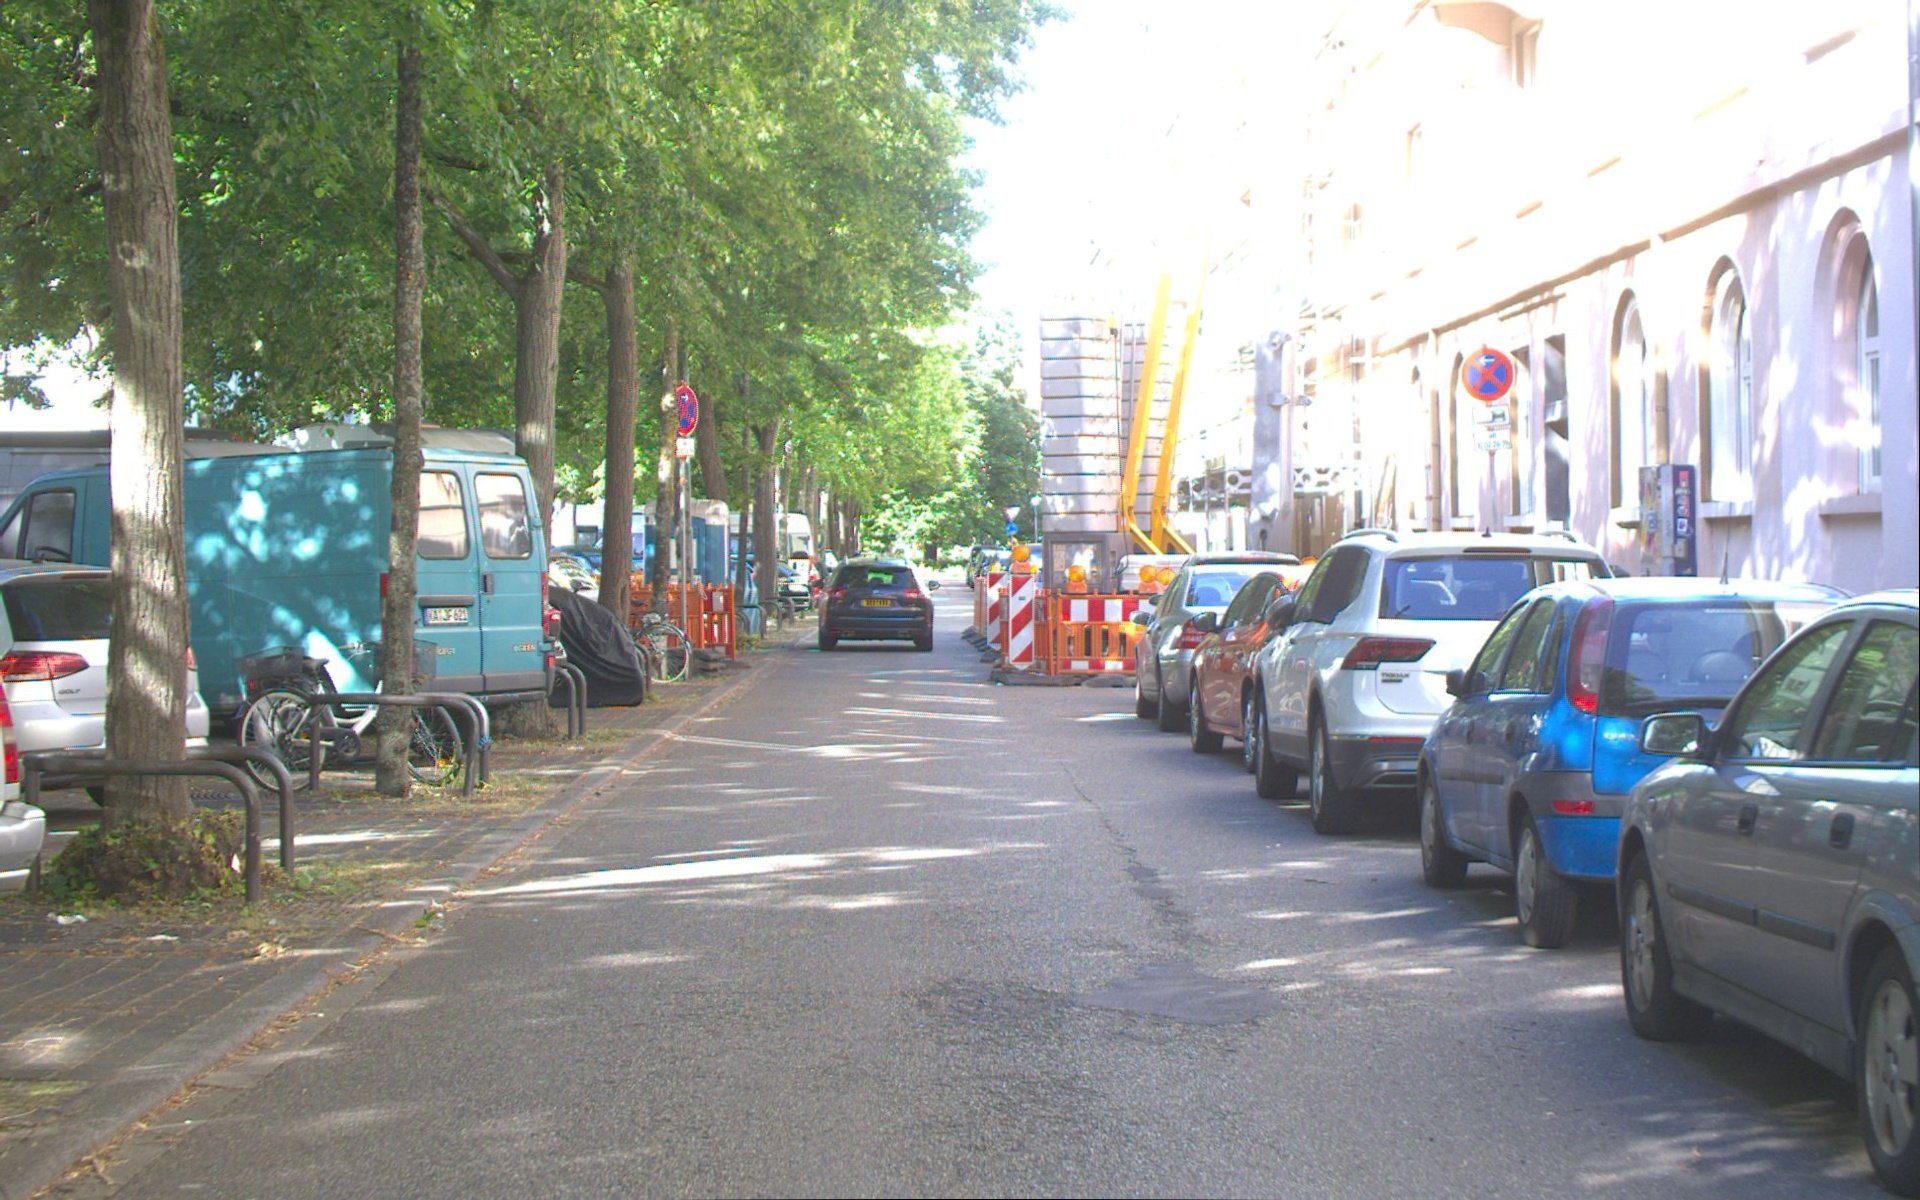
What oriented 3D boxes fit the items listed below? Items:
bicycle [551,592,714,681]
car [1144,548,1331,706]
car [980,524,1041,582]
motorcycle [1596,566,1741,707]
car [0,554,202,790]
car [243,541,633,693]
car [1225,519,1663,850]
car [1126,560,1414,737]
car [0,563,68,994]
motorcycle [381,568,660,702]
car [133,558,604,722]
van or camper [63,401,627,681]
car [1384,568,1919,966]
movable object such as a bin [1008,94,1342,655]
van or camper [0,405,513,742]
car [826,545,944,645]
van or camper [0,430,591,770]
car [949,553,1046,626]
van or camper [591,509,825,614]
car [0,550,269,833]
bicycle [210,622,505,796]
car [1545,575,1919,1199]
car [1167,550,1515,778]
[{"bbox_3d":[-3.783,0.419,39.663,1.899,1.003,0.430,0,1,23],"label":"bicycle"},{"bbox_3d":[2.775,0.243,34.888,1.591,1.525,2.781,0,1,-2],"label":"car"},{"bbox_3d":[1.612,-1.531,111.492,1.797,1.794,3.586,-1,1,-2],"label":"car"},{"bbox_3d":[6.292,0.305,30.603,0.547,1.189,1.838,-1,1,-12],"label":"motorcycle"},{"bbox_3d":[-7.129,0.432,22.776,3.993,1.426,1.719,0,1,30],"label":"car"},{"bbox_3d":[-5.833,0.173,38.405,3.958,1.623,1.821,0,1,25],"label":"car"},{"bbox_3d":[2.648,0.390,19.873,1.816,1.668,4.674,-1,1,-1],"label":"car"},{"bbox_3d":[2.632,0.372,30.198,1.993,1.404,4.501,0,1,-2],"label":"car"},{"bbox_3d":[-5.412,0.608,12.208,4.482,1.438,1.729,0,1,32],"label":"car"},{"bbox_3d":[-4.234,0.334,33.210,2.550,1.254,0.762,-1,1,7],"label":"motorcycle"},{"bbox_3d":[-5.445,0.343,31.612,3.959,1.409,1.820,0,1,27],"label":"car"},{"bbox_3d":[-7.616,-0.690,42.352,6.666,3.229,2.492,-1,1,28],"label":"van or camper"},{"bbox_3d":[2.855,0.594,14.481,1.617,1.408,3.788,-1,1,-1],"label":"car"},{"bbox_3d":[2.705,-2.733,43.236,3.485,6.736,2.364,0,1,32],"label":"movable object such as a bin"},{"bbox_3d":[-6.889,-0.213,29.253,5.877,2.628,2.252,-1,1,29],"label":"van or camper"},{"bbox_3d":[-1.211,-0.101,54.859,1.797,1.498,3.586,-1,1,-2],"label":"car"},{"bbox_3d":[-5.664,-0.002,25.011,5.504,2.267,2.218,-1,1,23],"label":"van or camper"},{"bbox_3d":[0.736,-0.234,70.129,1.797,1.380,3.586,-1,1,-2],"label":"car"},{"bbox_3d":[-6.175,-0.927,84.037,5.342,2.466,2.290,0,1,32],"label":"van or camper"},{"bbox_3d":[-6.063,0.461,19.393,3.949,1.438,1.843,0,1,28],"label":"car"},{"bbox_3d":[-3.730,0.660,21.347,1.719,1.002,0.511,-1,1,-30],"label":"bicycle"},{"bbox_3d":[2.836,0.661,9.363,1.630,1.408,4.089,-1,1,-2],"label":"car"},{"bbox_3d":[2.715,0.406,25.369,1.790,1.518,3.965,-1,1,-5],"label":"car"}]
